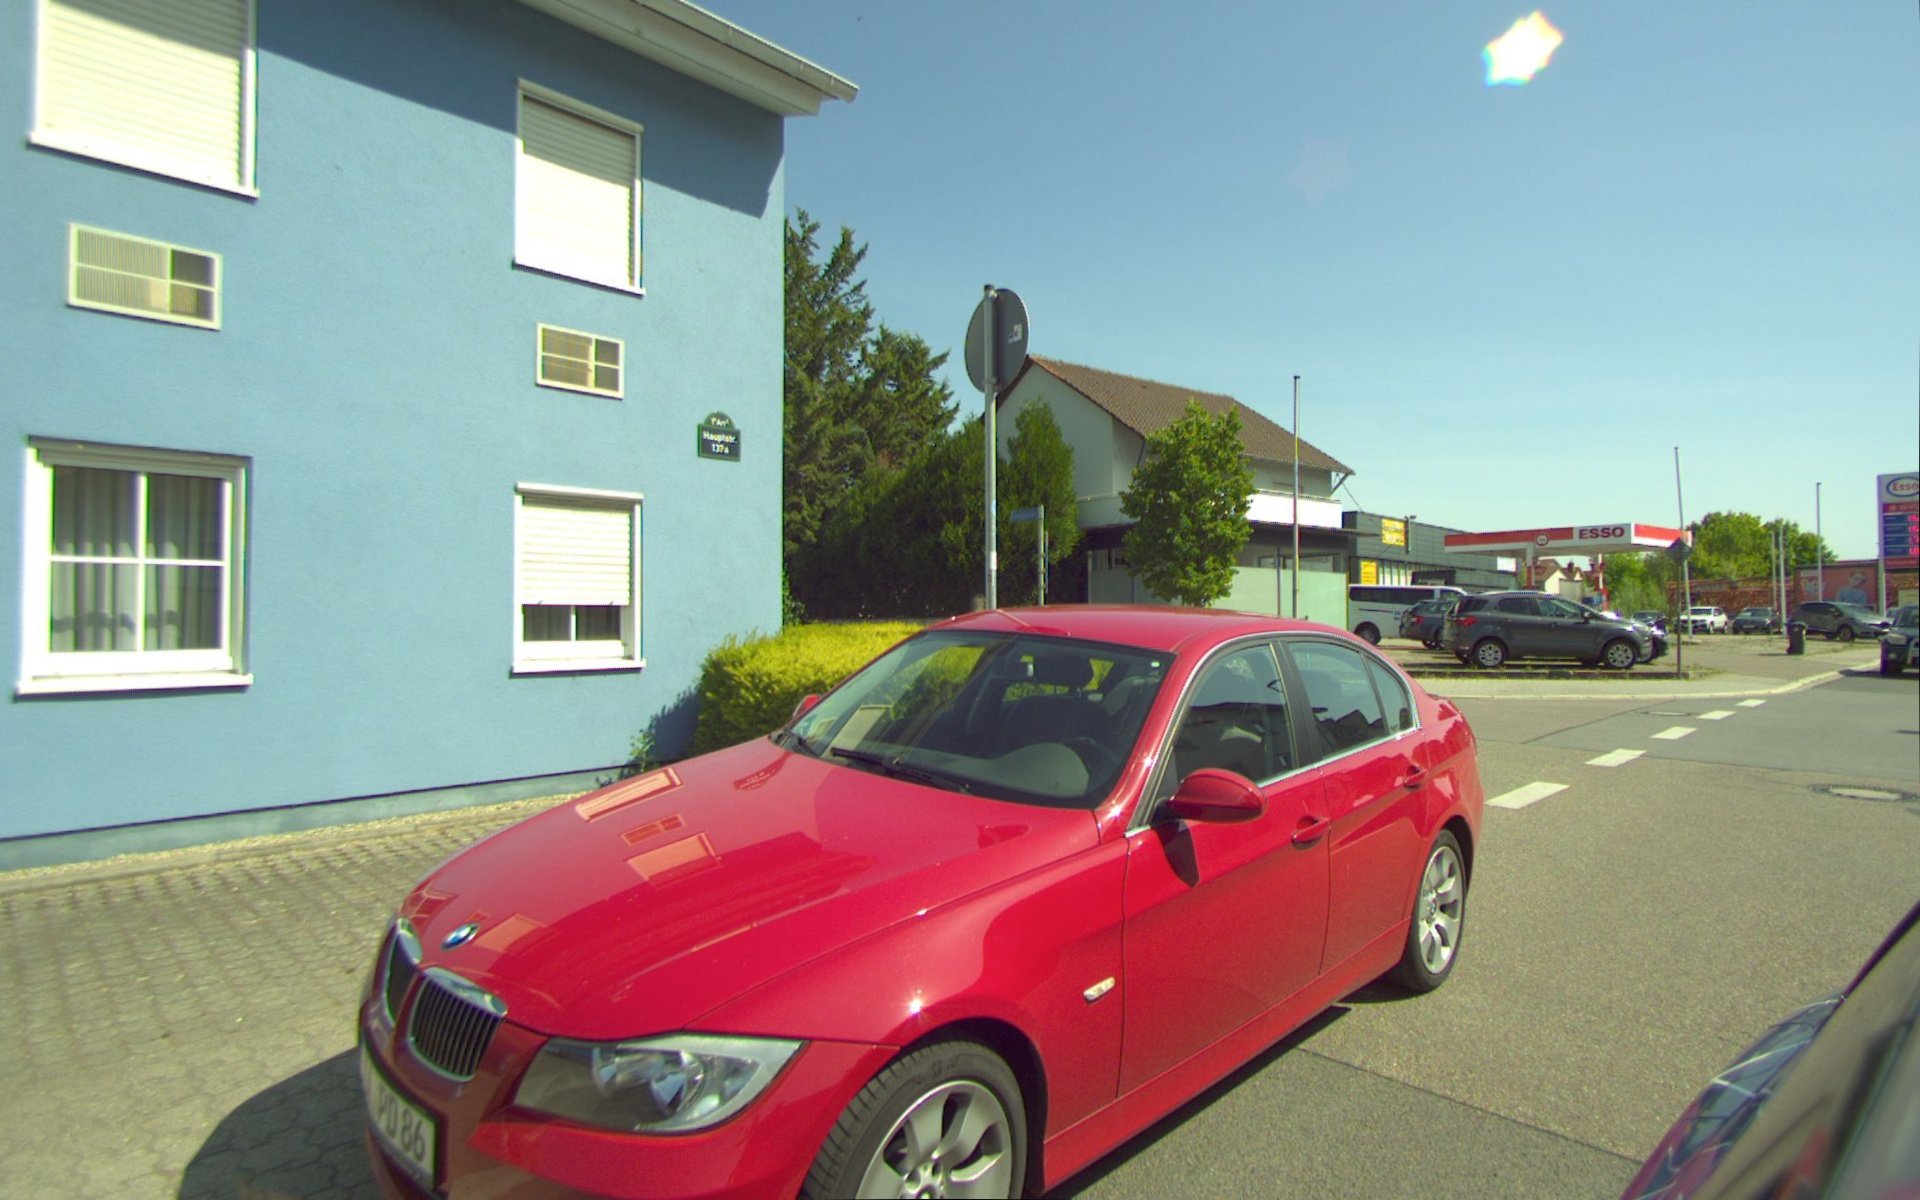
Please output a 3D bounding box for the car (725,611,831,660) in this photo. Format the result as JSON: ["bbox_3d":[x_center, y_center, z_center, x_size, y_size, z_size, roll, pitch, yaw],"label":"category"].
[{"bbox_3d":[-6.238,1.225,34.369,1.613,1.499,3.892,0,-3,-44],"label":"car"}]

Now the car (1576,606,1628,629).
[{"bbox_3d":[41.708,1.131,65.699,4.302,1.404,1.843,0,0,-43],"label":"car"}]

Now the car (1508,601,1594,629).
[{"bbox_3d":[35.787,0.879,61.355,1.780,1.655,4.147,0,0,-41],"label":"car"}]

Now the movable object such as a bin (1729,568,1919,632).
[{"bbox_3d":[61.730,0.016,70.006,2.810,4.218,13.288,1,-1,-37],"label":"movable object such as a bin"}]

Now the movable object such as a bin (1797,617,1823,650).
[{"bbox_3d":[24.860,0.968,29.613,0.557,0.948,0.506,0,-1,43],"label":"movable object such as a bin"}]

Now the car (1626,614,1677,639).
[{"bbox_3d":[43.179,1.630,63.170,3.933,1.404,1.843,0,0,-43],"label":"car"}]

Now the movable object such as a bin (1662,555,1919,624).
[{"bbox_3d":[54.985,-0.609,65.061,2.722,4.070,16.093,1,-1,-37],"label":"movable object such as a bin"}]

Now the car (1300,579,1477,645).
[{"bbox_3d":[14.114,0.379,33.434,5.235,2.039,2.210,0,0,27],"label":"car"}]

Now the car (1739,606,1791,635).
[{"bbox_3d":[47.114,1.167,59.198,4.037,1.612,1.843,0,0,-43],"label":"car"}]

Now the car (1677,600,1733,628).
[{"bbox_3d":[45.152,0.840,61.338,4.266,1.612,2.000,0,0,-43],"label":"car"}]

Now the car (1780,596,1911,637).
[{"bbox_3d":[36.089,0.660,41.413,1.741,1.575,4.180,0,0,1],"label":"car"}]

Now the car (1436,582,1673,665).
[{"bbox_3d":[12.662,0.477,21.844,4.056,1.674,1.822,0,0,16],"label":"car"}]

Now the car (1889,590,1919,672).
[{"bbox_3d":[22.227,0.736,22.656,4.325,1.718,1.846,2,1,-45],"label":"car"}]

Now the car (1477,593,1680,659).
[{"bbox_3d":[14.557,0.582,24.059,3.825,1.465,1.739,0,0,21],"label":"car"}]

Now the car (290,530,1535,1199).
[{"bbox_3d":[0.394,0.657,3.516,1.733,1.513,4.284,1,0,45],"label":"car"}]
